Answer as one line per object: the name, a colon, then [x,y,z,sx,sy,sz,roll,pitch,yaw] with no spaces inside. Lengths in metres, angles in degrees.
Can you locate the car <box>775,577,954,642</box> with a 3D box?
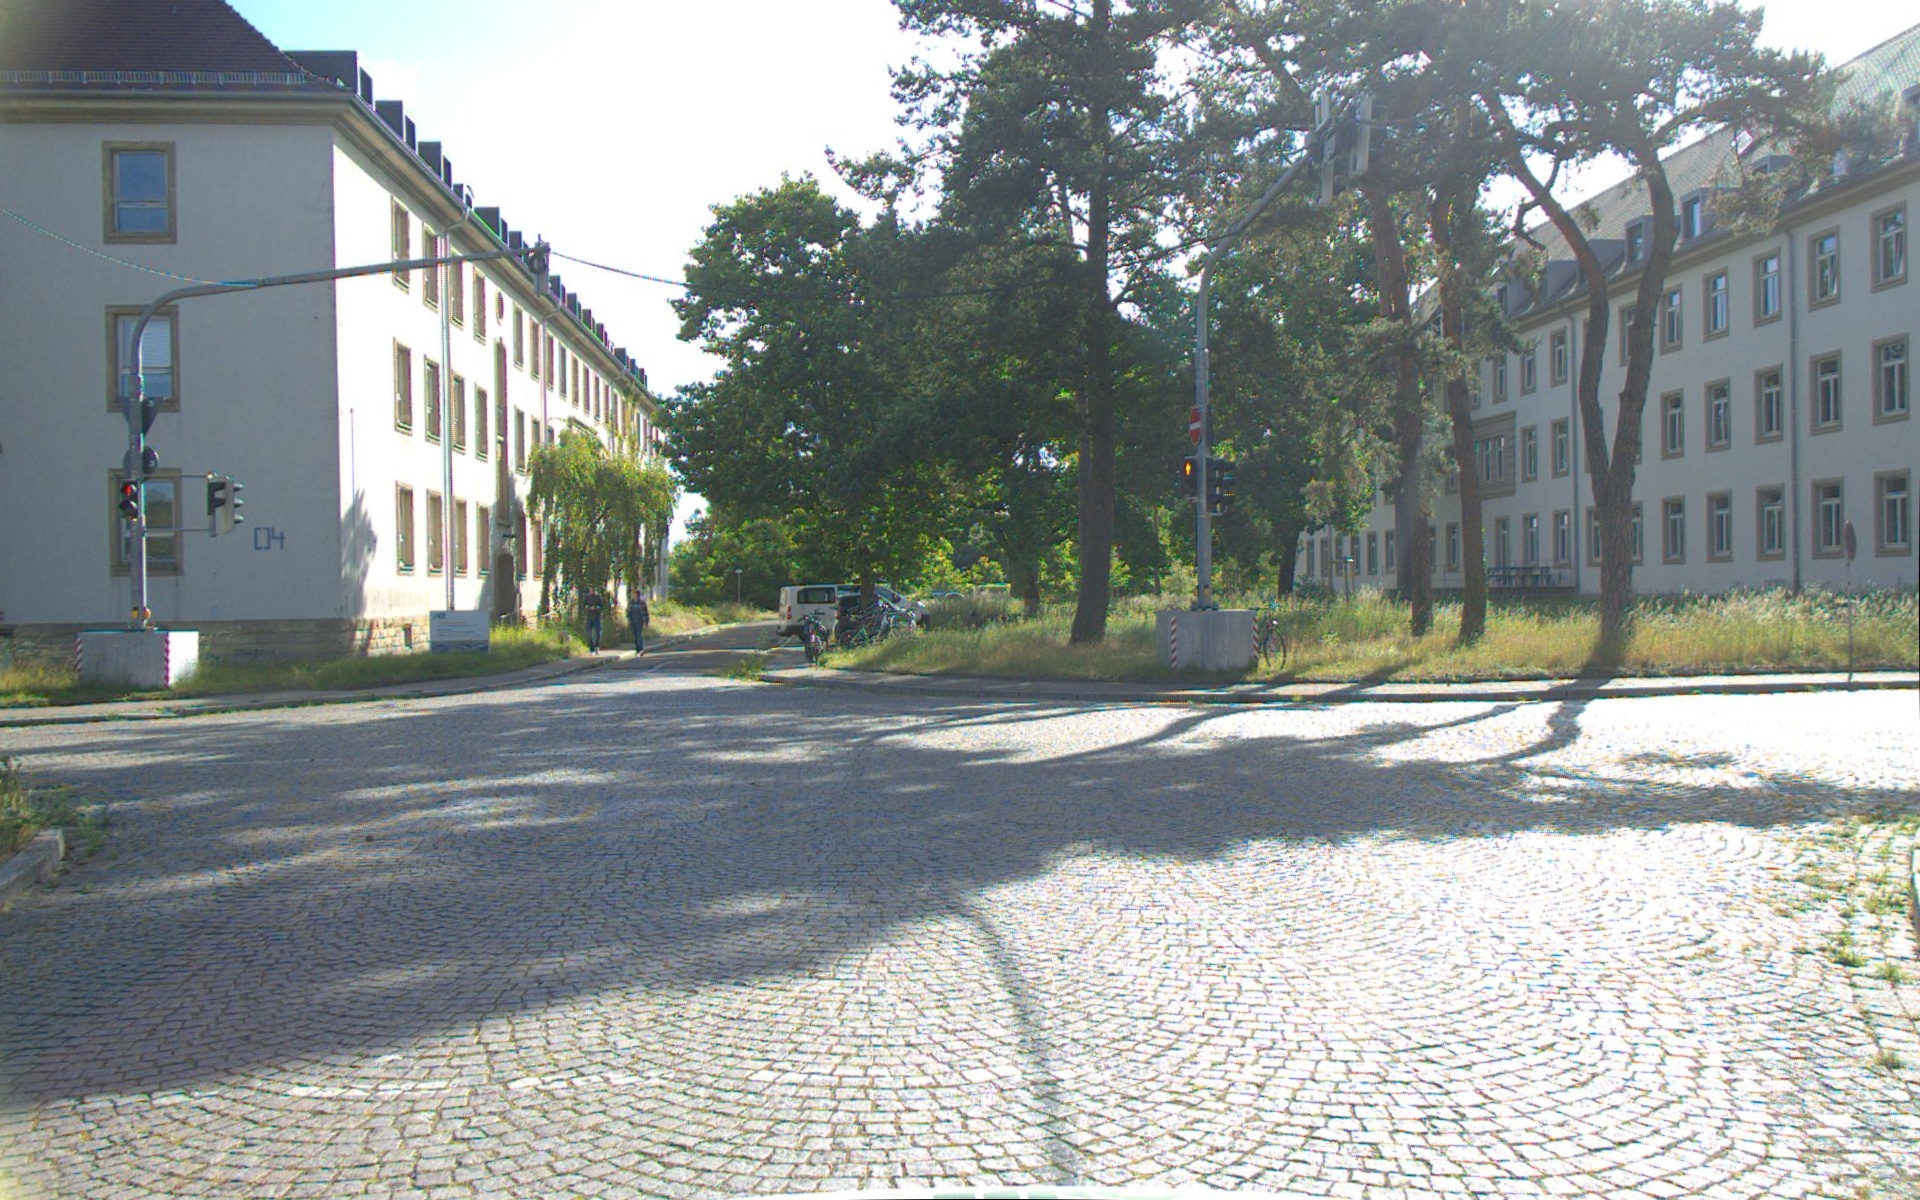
car: [-3.299,0.304,56.511,5.825,2.049,2.469,-1,0,-11]

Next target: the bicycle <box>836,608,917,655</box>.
bicycle: [-1.940,0.730,38.434,1.819,1.049,0.749,-1,0,-7]

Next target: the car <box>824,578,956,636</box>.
car: [-2.230,0.199,52.179,3.917,1.713,1.842,-1,0,-12]

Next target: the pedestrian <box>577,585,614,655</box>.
pedestrian: [-9.755,0.534,44.250,0.794,1.849,0.555,-1,0,7]

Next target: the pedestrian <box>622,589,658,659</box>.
pedestrian: [-8.617,0.642,44.583,0.751,1.849,0.683,-1,0,7]

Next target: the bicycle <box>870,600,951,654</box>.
bicycle: [-1.206,0.641,39.988,1.904,1.257,0.484,-1,0,-7]

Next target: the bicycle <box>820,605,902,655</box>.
bicycle: [-2.407,0.729,40.414,1.921,1.149,0.641,-1,0,-31]

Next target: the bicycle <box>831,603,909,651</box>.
bicycle: [-2.263,0.677,41.524,1.905,1.149,0.646,-1,0,-10]

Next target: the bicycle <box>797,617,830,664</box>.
bicycle: [-3.265,0.885,36.783,0.682,0.988,1.858,0,0,-6]

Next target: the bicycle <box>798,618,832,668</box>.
bicycle: [-3.073,0.885,34.866,0.682,0.988,1.858,0,0,-6]

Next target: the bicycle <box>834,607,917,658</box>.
bicycle: [-2.000,0.772,39.228,1.904,1.149,0.749,-1,0,-7]

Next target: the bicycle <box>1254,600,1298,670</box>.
bicycle: [5.112,0.559,26.804,0.456,1.099,1.173,-1,0,-1]
